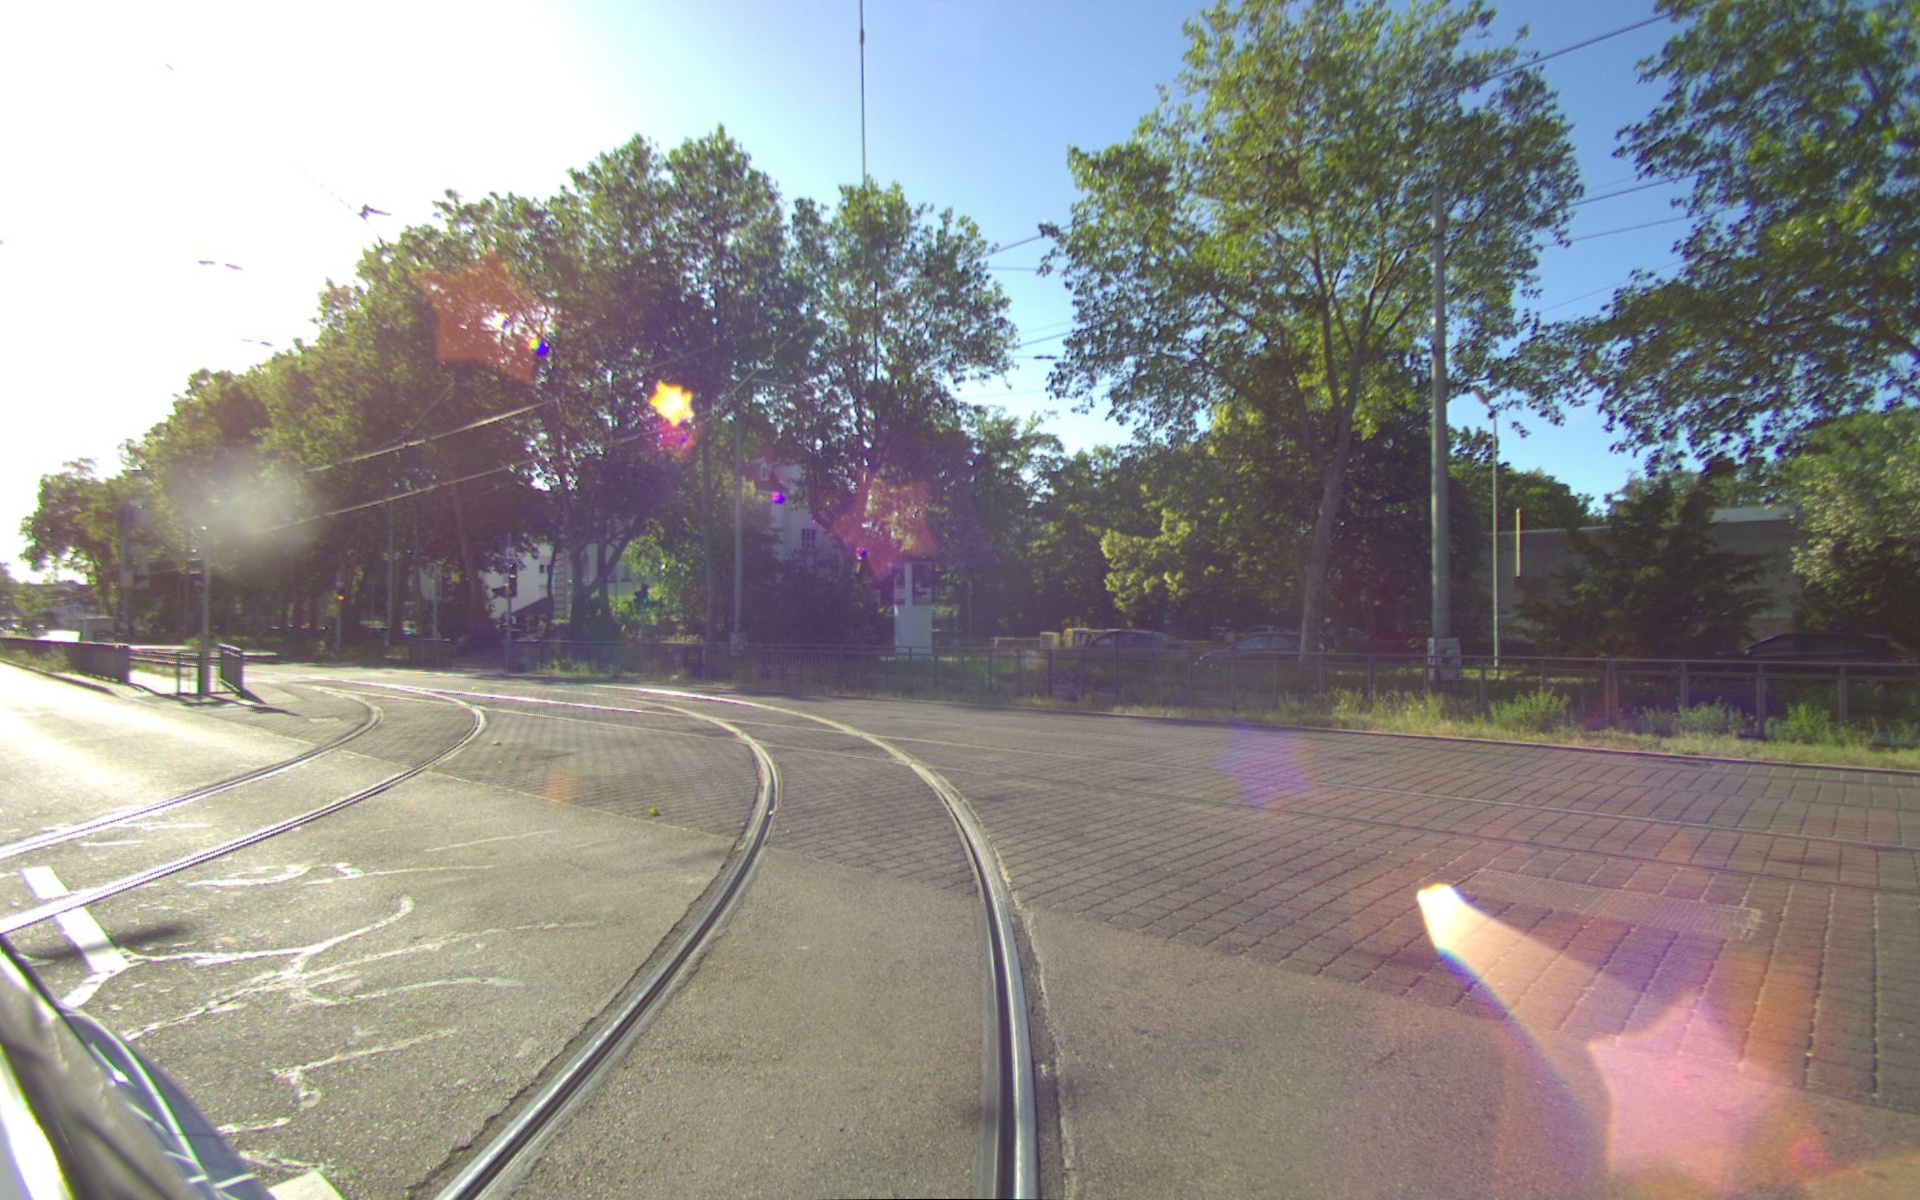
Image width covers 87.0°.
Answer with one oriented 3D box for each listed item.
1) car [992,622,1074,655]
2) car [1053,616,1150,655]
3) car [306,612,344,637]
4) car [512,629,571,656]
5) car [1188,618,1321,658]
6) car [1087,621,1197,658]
[{"bbox_3d":[3.309,1.749,46.102,1.611,1.406,3.485,-2,0,-45],"label":"car"},{"bbox_3d":[5.988,1.509,42.996,3.740,1.482,1.723,-2,0,43],"label":"car"},{"bbox_3d":[-48.778,1.897,77.666,1.721,1.806,3.743,1,-3,-44],"label":"car"},{"bbox_3d":[-25.281,2.566,61.101,3.754,1.482,1.700,-2,0,41],"label":"car"},{"bbox_3d":[8.551,1.096,29.545,3.405,1.037,1.464,-2,0,43],"label":"car"},{"bbox_3d":[5.761,1.266,32.203,3.129,1.057,1.483,-2,0,44],"label":"car"}]
